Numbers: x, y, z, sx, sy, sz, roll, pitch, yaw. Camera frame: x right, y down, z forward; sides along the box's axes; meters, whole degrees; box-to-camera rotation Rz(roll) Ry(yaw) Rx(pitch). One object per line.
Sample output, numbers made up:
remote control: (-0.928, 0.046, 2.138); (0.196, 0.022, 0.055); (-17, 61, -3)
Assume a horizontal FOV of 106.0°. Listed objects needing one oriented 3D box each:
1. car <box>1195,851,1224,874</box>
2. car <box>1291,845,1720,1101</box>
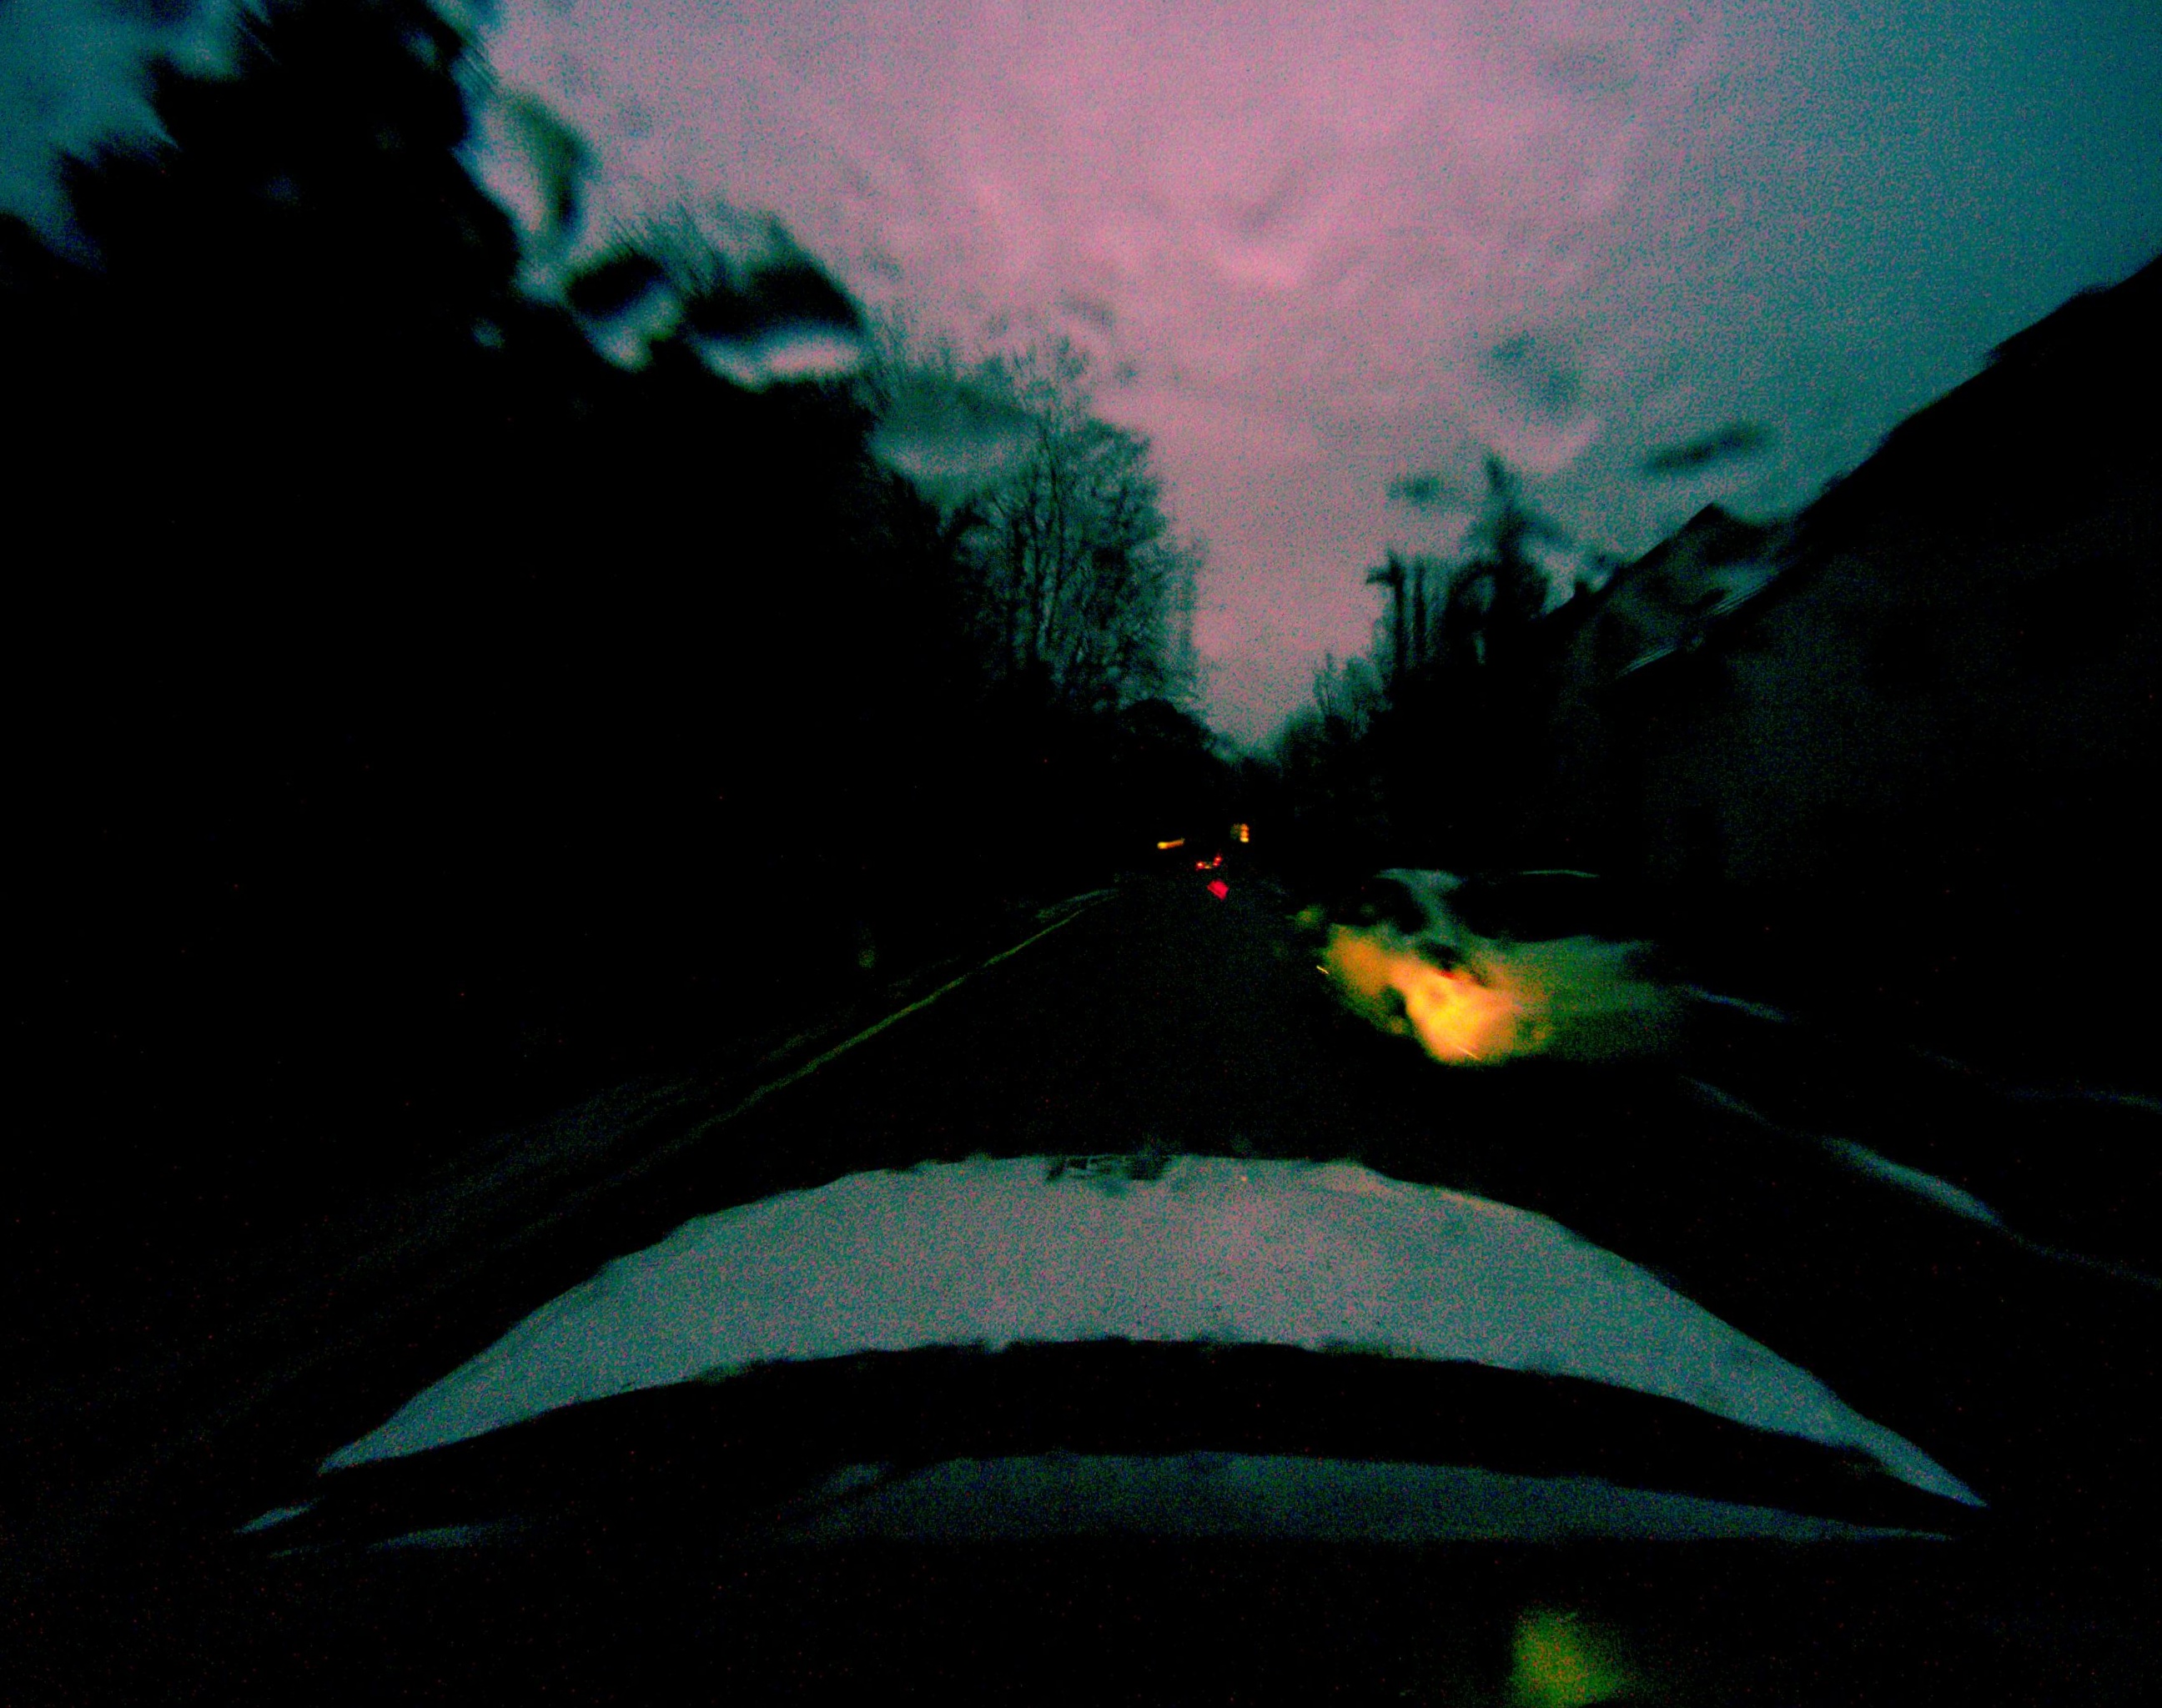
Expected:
car: (10.816, 0.690, 68.407); (1.918, 1.781, 4.017); (-2, 0, 15)
car: (3.024, 0.726, 6.844); (1.696, 1.506, 4.028); (0, -1, 3)
